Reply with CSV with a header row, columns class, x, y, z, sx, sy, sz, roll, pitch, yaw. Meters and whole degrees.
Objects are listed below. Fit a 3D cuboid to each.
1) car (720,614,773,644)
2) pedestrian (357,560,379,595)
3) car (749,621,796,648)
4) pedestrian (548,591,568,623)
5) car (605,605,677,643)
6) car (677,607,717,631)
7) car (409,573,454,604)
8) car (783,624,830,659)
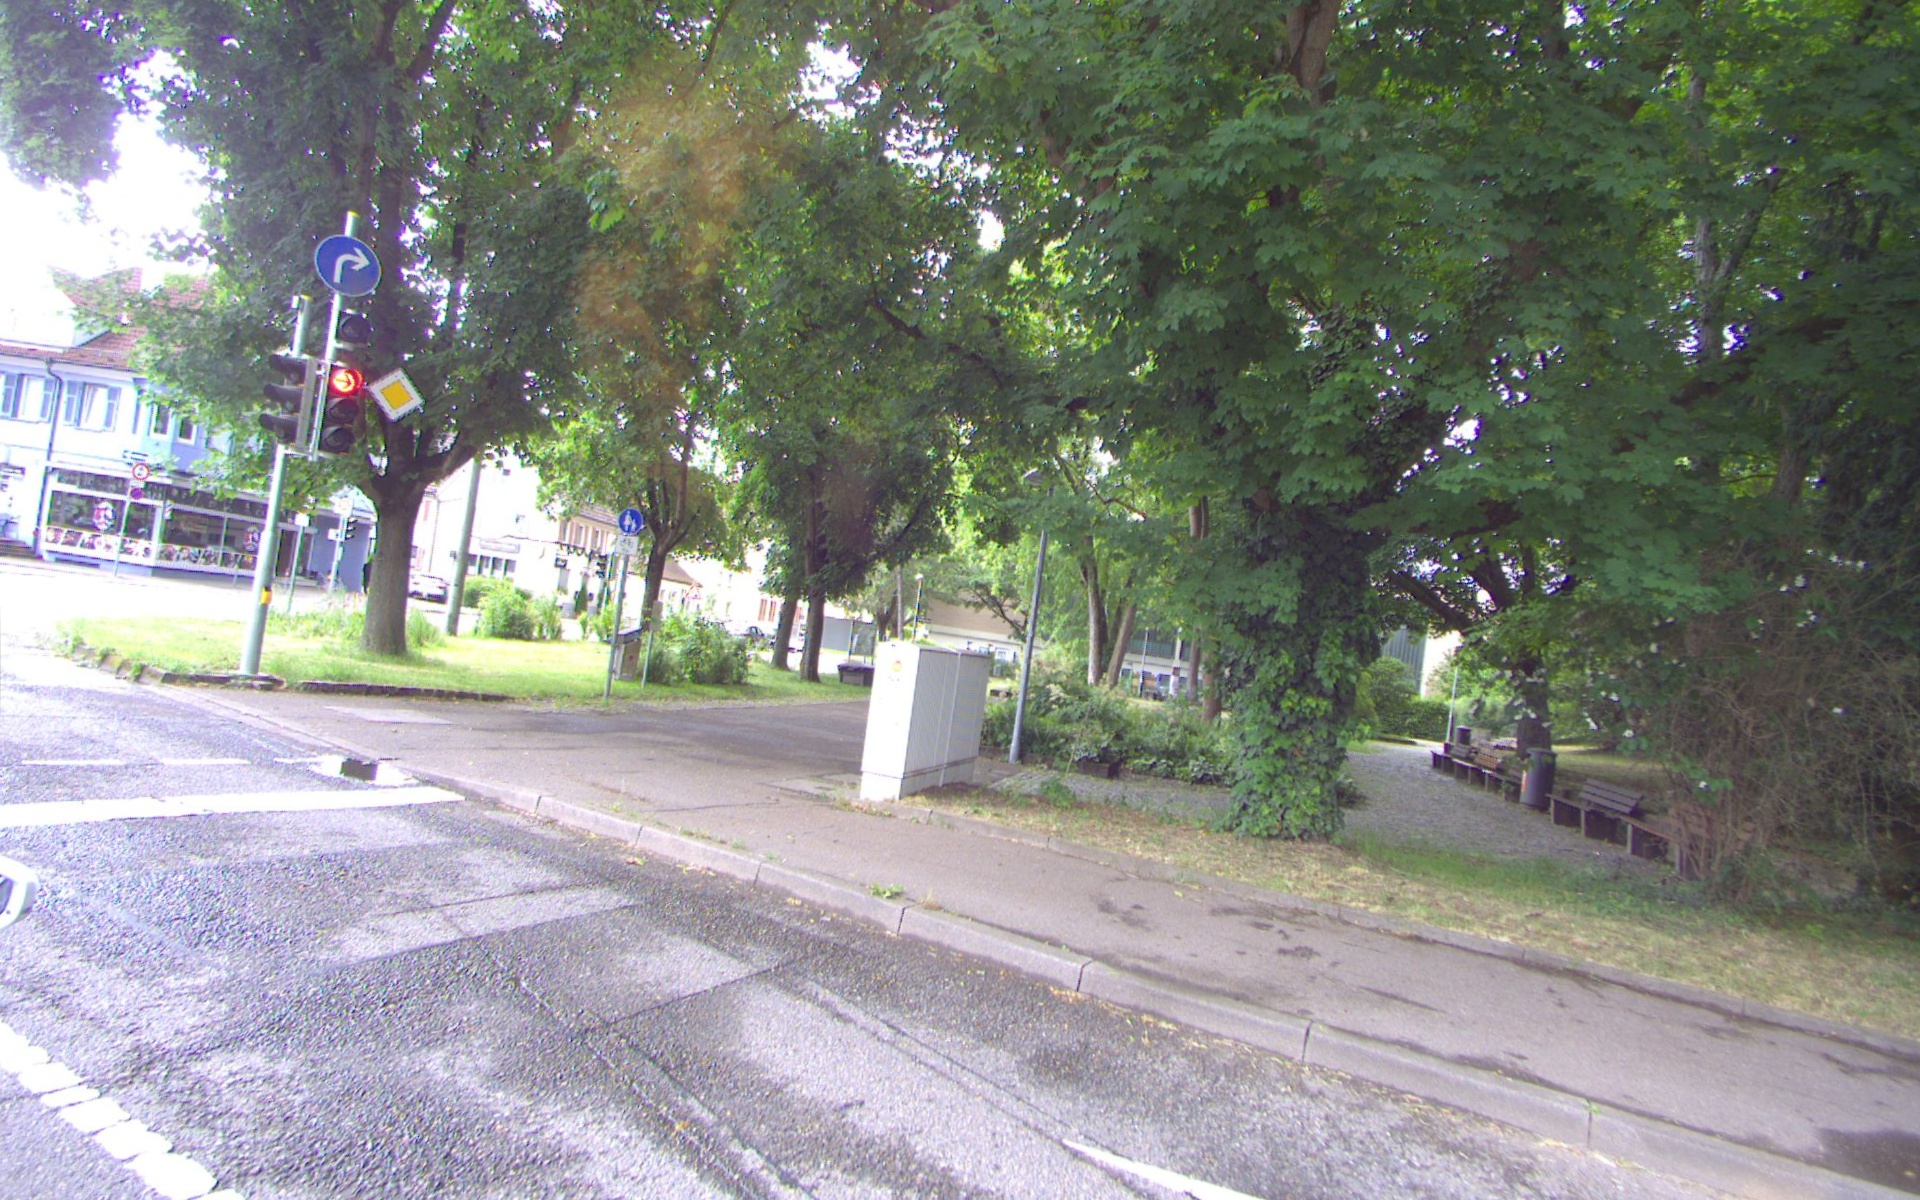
class,x,y,z,sx,sy,sz,roll,pitch,yaw
car,-11.569,1.596,54.825,1.530,1.336,3.514,7,-2,9
pedestrian,-27.318,-1.020,46.415,0.576,1.535,0.460,7,-1,11
car,-11.168,2.069,60.110,1.530,1.336,3.514,7,-2,8
pedestrian,-22.060,0.397,55.191,0.600,1.668,0.610,7,-1,4
car,-14.010,1.089,44.360,1.530,1.336,3.514,7,-2,9
car,-19.373,1.442,74.252,1.528,1.436,4.005,7,-2,4
car,-27.871,-0.603,53.147,1.479,1.384,3.166,8,-2,-19
car,-10.057,2.757,66.178,1.750,2.037,4.005,7,-2,7
